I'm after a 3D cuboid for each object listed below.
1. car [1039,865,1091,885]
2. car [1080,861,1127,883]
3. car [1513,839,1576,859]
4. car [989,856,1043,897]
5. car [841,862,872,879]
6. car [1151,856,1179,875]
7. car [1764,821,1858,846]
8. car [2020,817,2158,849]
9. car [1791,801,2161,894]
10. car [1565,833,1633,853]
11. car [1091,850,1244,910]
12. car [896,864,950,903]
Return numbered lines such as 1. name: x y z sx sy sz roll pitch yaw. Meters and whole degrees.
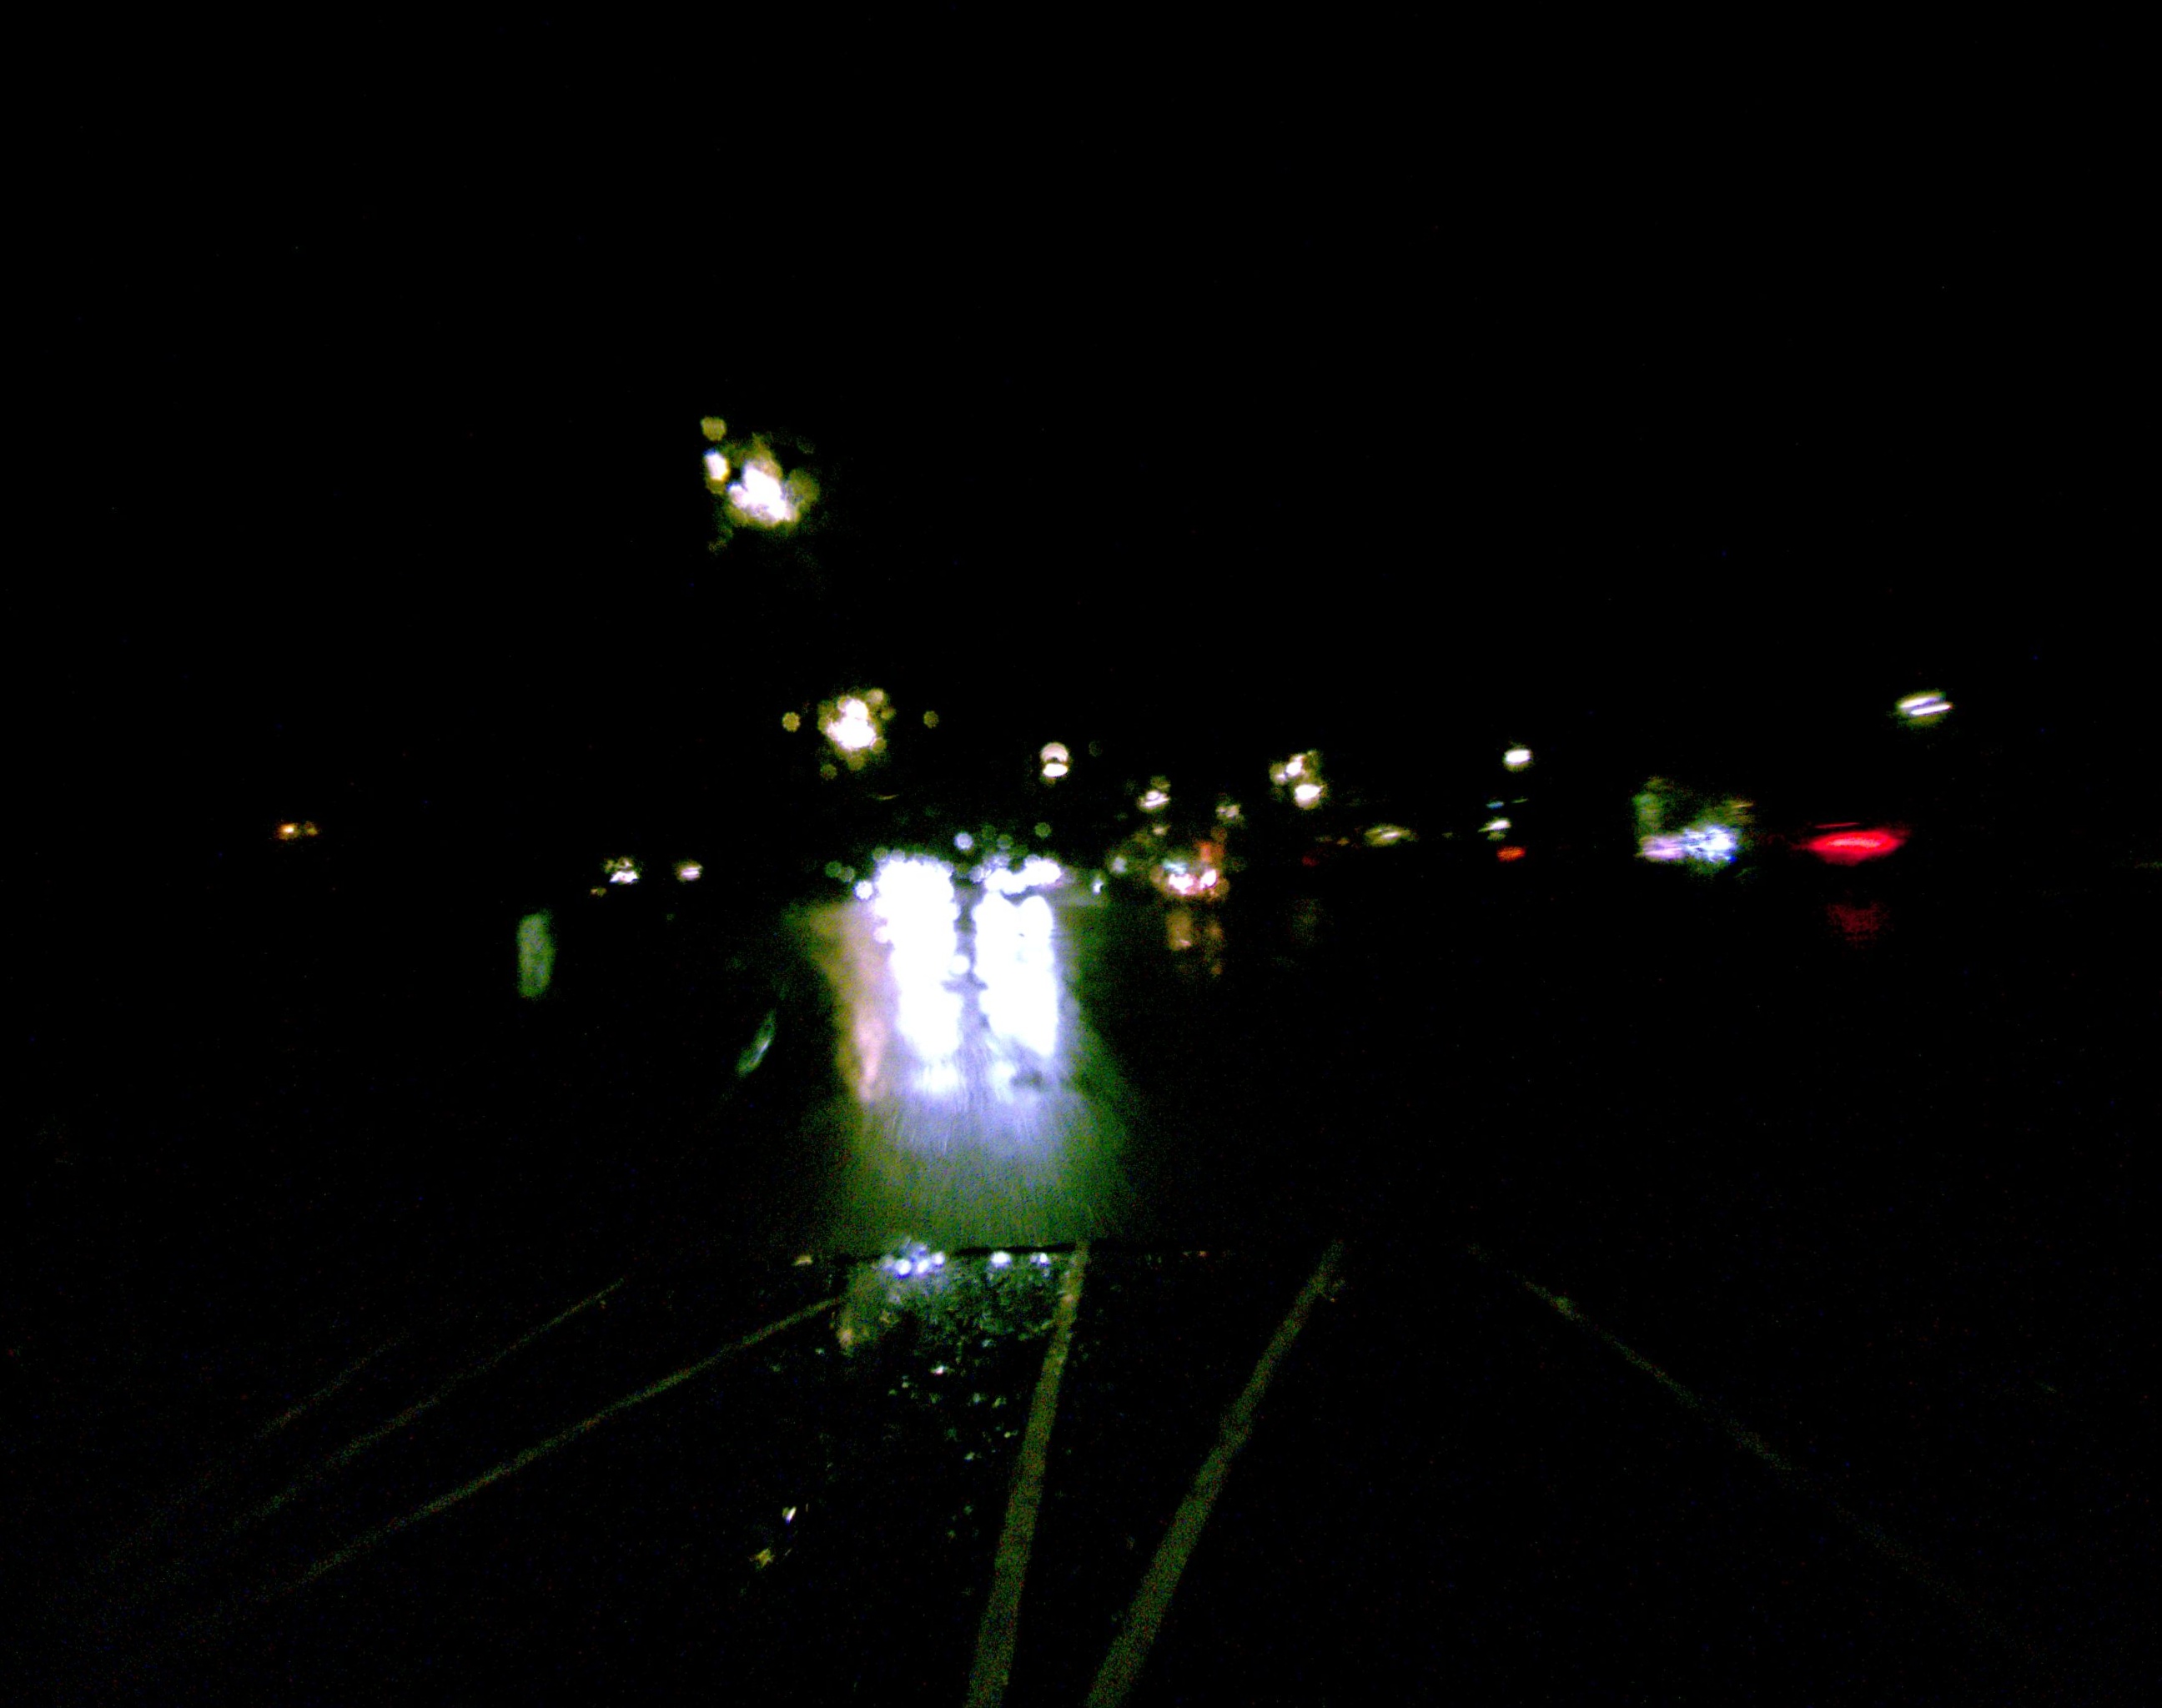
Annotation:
1. car: -1.371 1.786 65.400 4.193 1.457 1.995 -3 0 -45
2. car: 1.985 1.527 64.803 1.995 1.662 4.193 -3 0 34
3. car: 37.459 -0.412 61.560 4.175 1.457 2.003 -3 0 28
4. car: -2.985 0.948 33.966 2.000 1.573 5.194 -3 0 -8
5. car: -27.798 2.028 94.182 1.997 2.002 4.003 -2 1 12
6. car: 8.439 1.151 76.251 1.996 1.662 4.191 -3 0 17
7. car: 49.862 -1.395 52.013 2.002 1.457 4.178 -3 0 -23
8. car: 54.145 -1.099 40.917 2.002 1.457 4.177 -3 0 -27
9. car: 17.636 -0.099 15.318 4.422 1.612 2.003 -2 1 21
10. car: 43.128 -0.921 63.334 2.002 1.457 4.177 -3 0 -27
11. car: 2.306 0.718 21.508 1.650 1.457 4.629 -3 0 -33
12. car: -6.993 1.257 34.025 2.000 1.457 5.095 -3 0 -8
